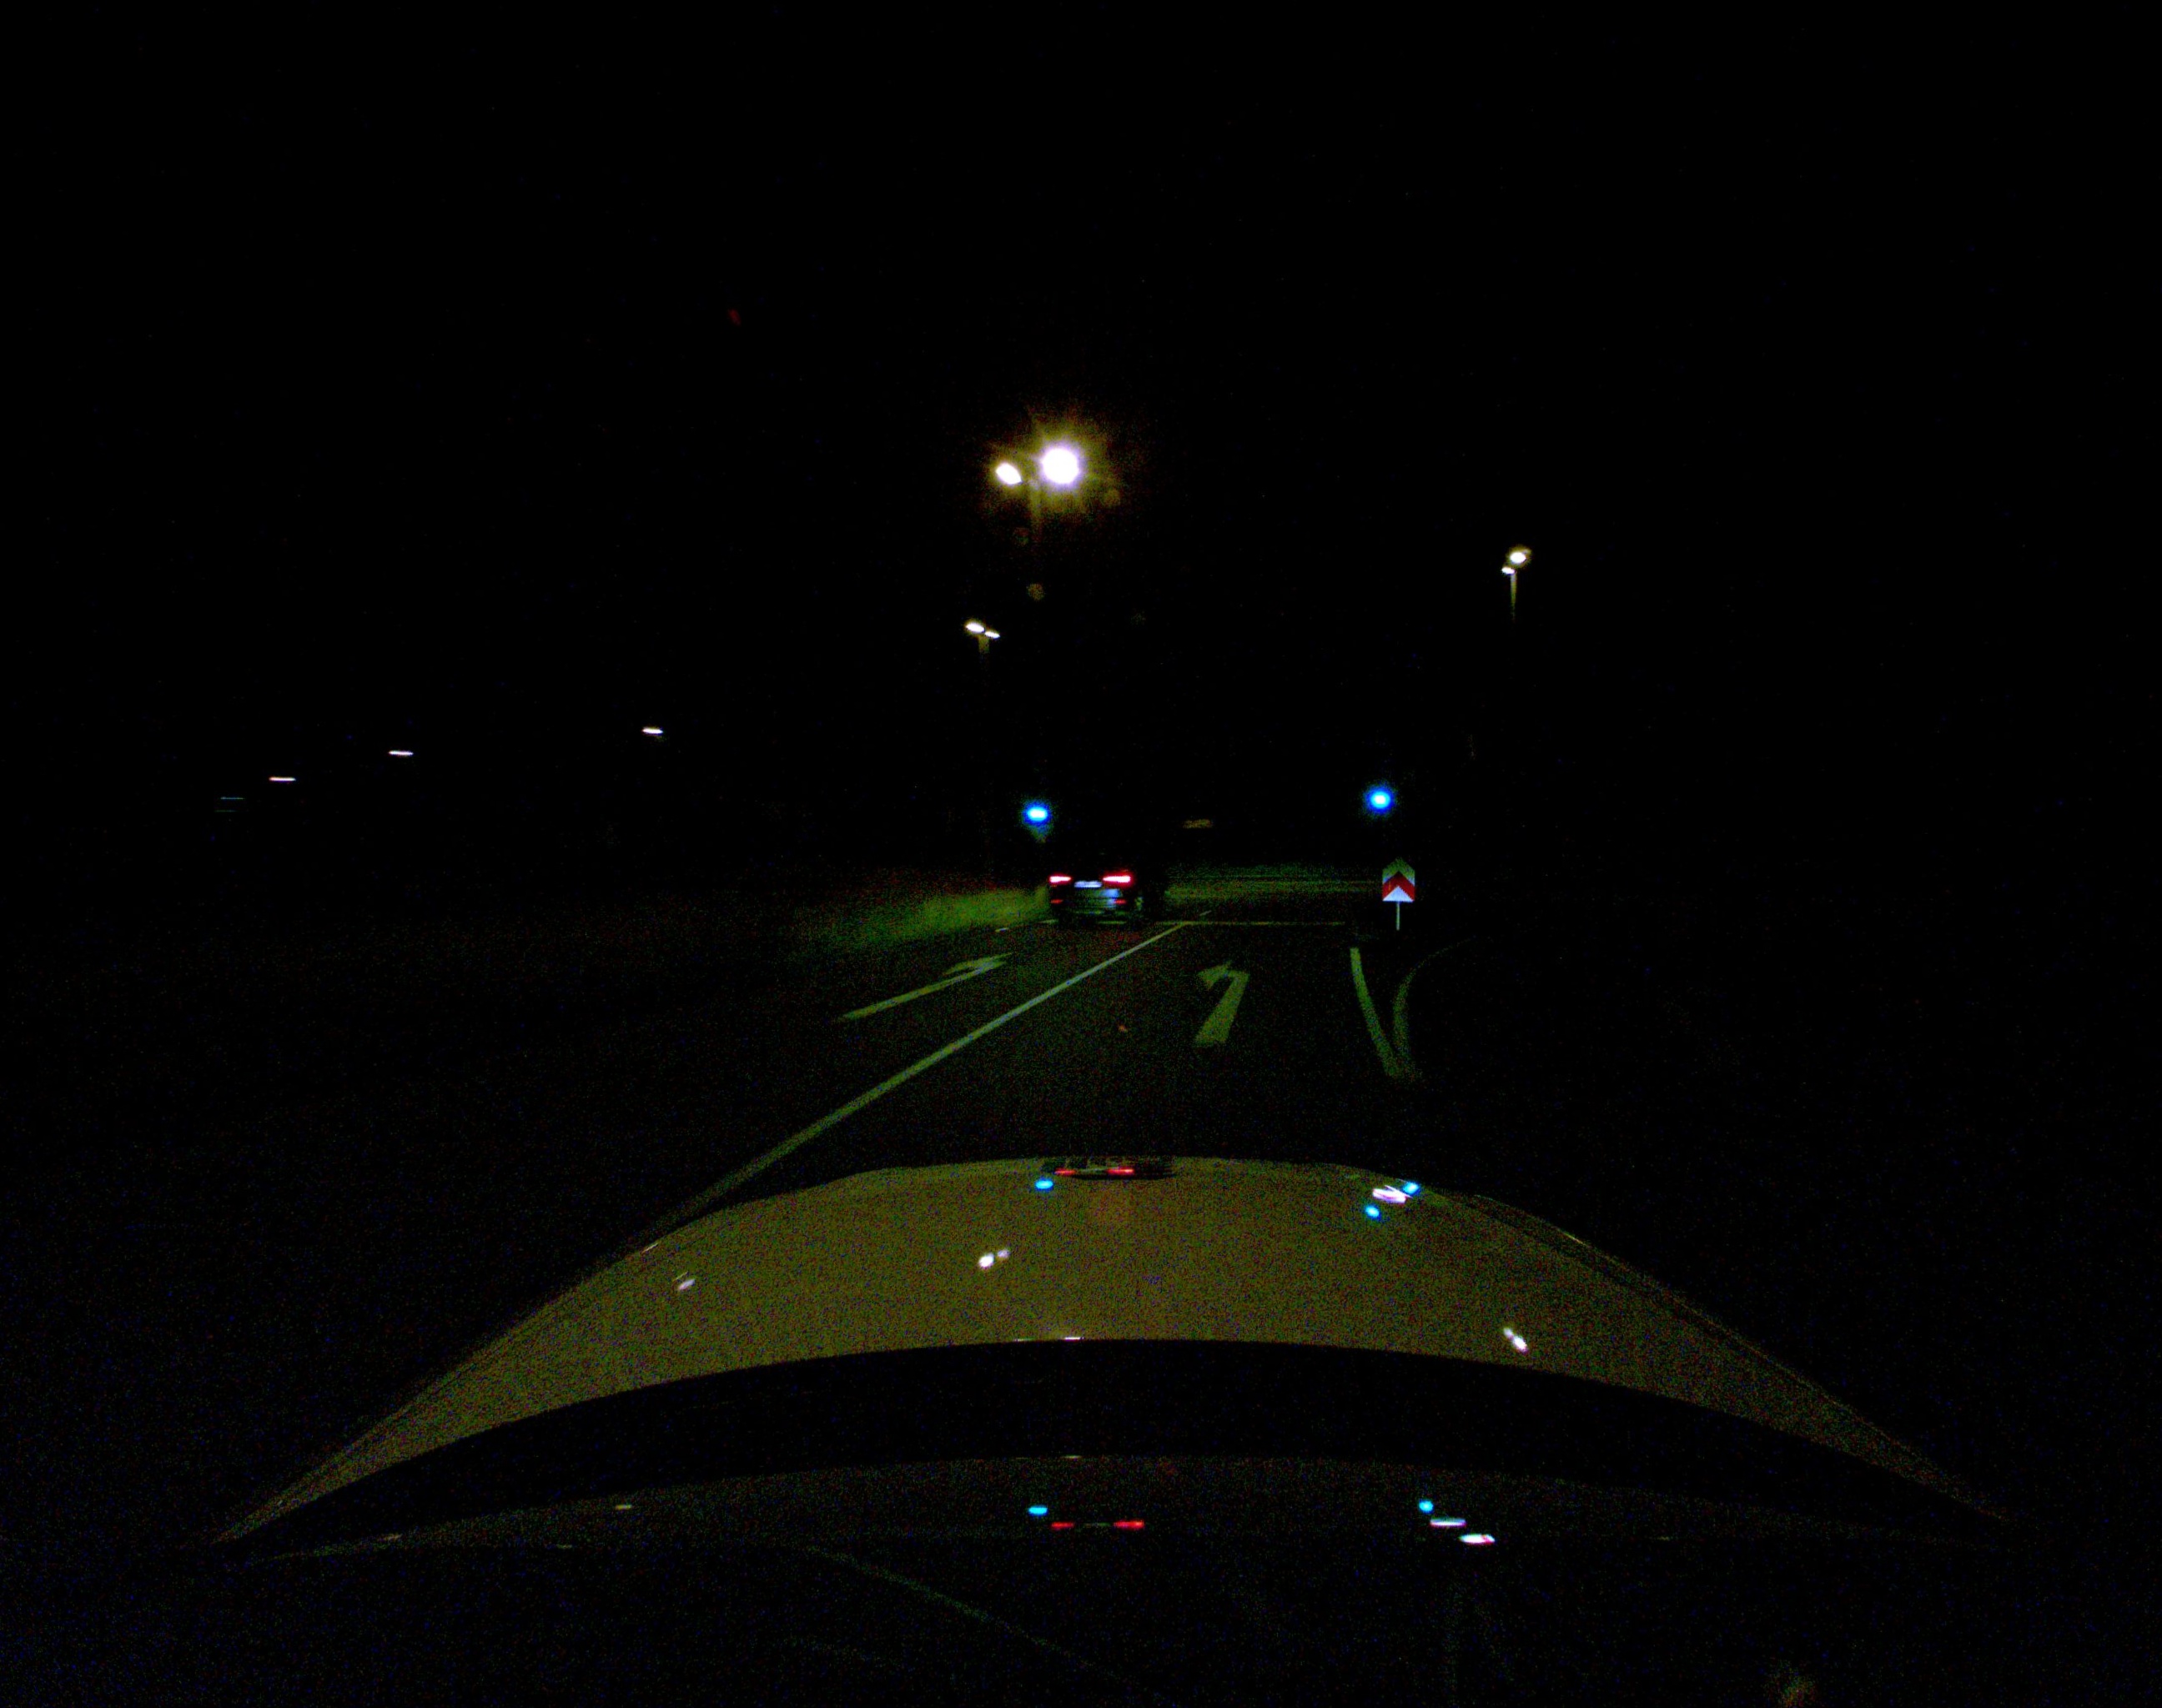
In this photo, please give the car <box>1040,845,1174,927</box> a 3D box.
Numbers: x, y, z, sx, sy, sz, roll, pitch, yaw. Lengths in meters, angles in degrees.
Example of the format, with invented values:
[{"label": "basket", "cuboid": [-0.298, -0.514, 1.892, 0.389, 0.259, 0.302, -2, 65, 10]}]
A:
[{"label": "car", "cuboid": [0.710, 0.599, 17.954, 1.837, 1.582, 4.026, 0, 1, 19]}]
